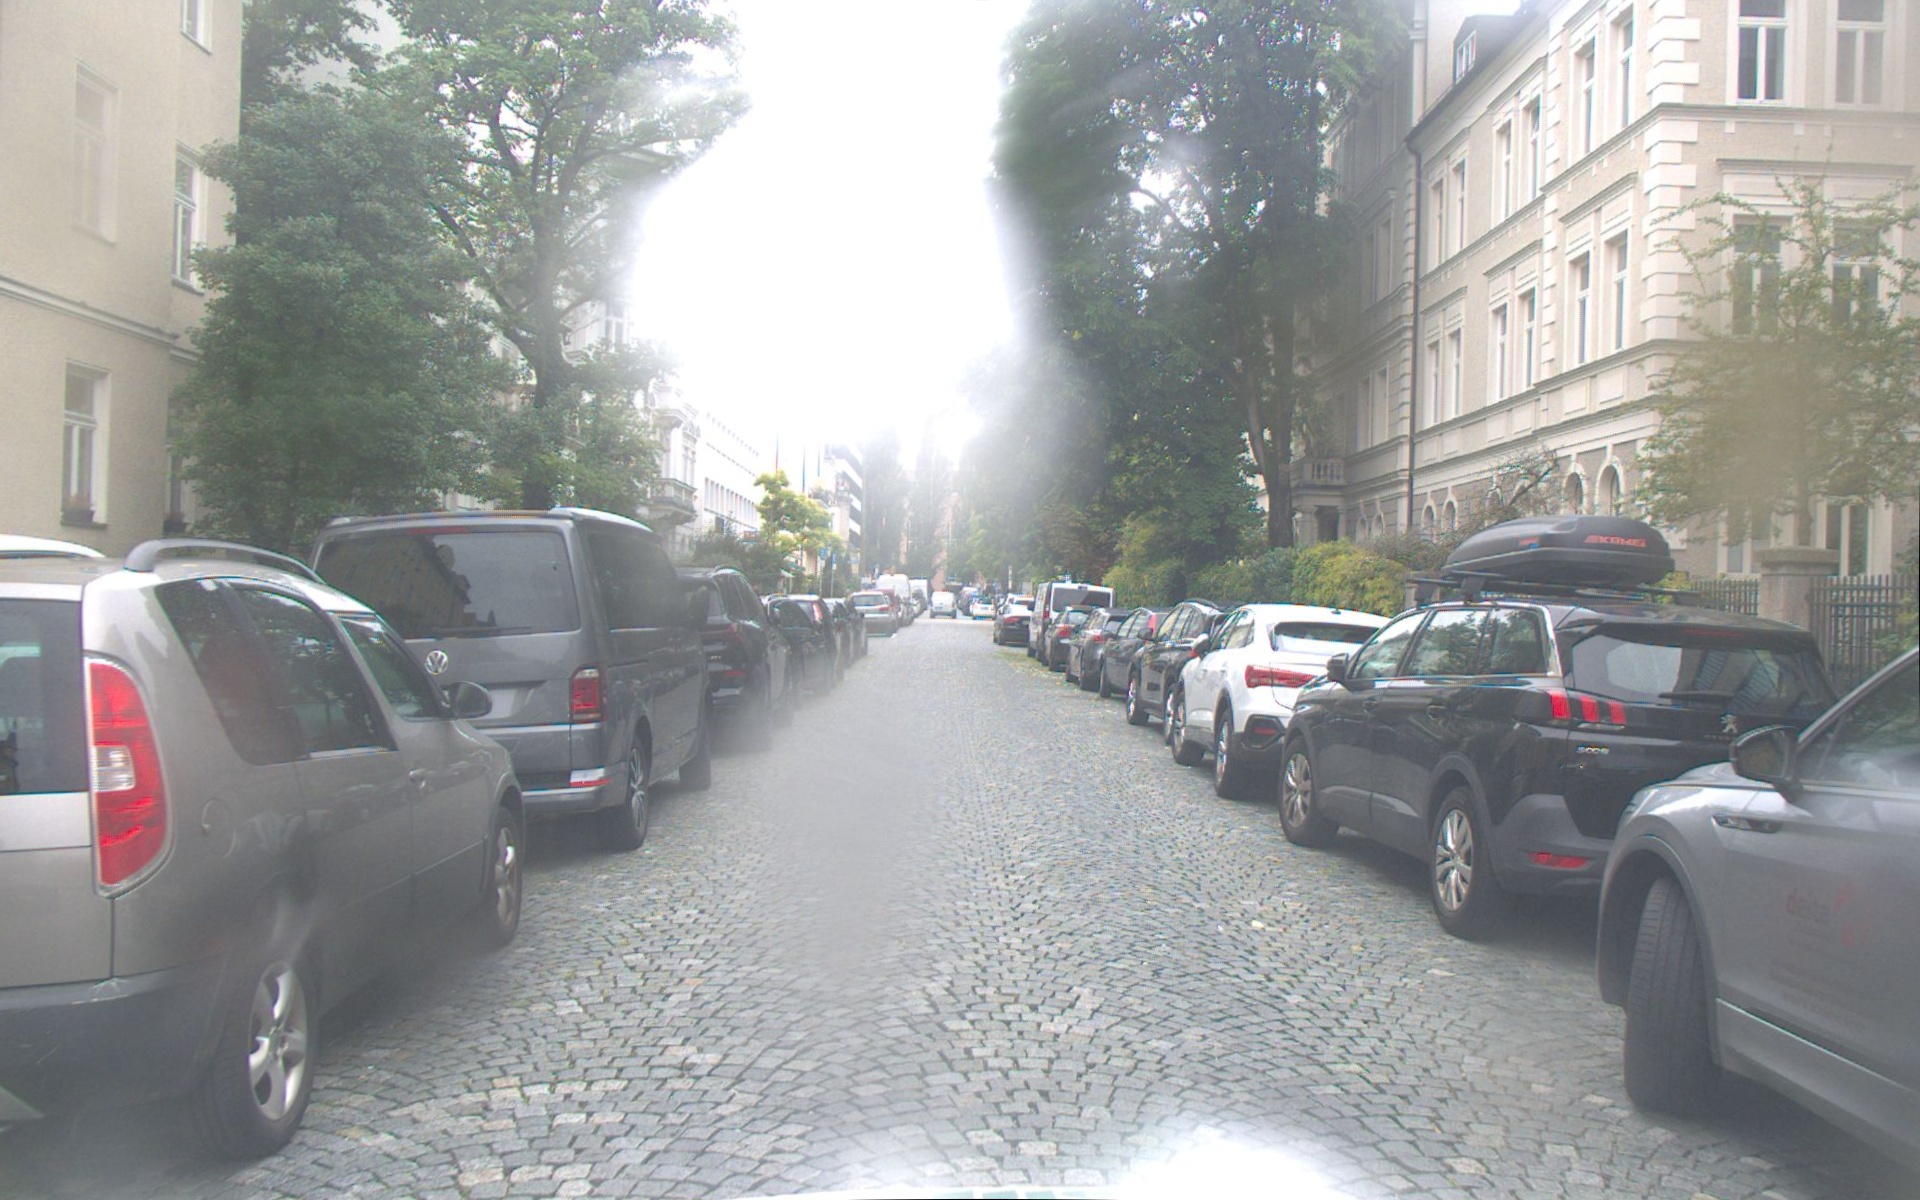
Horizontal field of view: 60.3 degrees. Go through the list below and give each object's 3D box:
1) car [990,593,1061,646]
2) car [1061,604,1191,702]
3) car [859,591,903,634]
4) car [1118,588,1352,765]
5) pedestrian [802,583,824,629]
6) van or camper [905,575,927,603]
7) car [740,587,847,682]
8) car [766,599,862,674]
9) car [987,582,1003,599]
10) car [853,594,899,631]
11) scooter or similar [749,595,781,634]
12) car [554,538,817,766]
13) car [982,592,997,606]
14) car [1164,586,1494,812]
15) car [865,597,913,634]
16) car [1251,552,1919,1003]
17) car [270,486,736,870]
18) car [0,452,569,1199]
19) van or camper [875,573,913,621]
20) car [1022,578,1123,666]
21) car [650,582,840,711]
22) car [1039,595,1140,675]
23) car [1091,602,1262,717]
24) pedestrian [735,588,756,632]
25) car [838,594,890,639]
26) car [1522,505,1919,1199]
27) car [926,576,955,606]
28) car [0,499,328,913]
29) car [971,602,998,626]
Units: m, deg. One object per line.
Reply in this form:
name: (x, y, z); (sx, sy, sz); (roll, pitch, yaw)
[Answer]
car: (2.102, 0.606, 54.310); (1.836, 1.529, 4.509); (4, 0, -3)
car: (2.875, 0.881, 29.510); (1.679, 1.498, 4.267); (4, 0, -2)
car: (-3.535, 0.557, 74.328); (1.835, 1.807, 4.121); (-2, 0, -2)
car: (3.085, 0.798, 19.514); (1.835, 1.698, 4.656); (4, 0, -1)
pedestrian: (-6.359, 0.262, 71.590); (0.776, 1.951, 0.758); (3, 0, -1)
van or camper: (-4.724, -1.176, 179.264); (2.210, 2.790, 5.097); (3, 0, -1)
car: (-2.742, 0.546, 27.883); (1.629, 1.469, 4.168); (1, 0, -4)
car: (-3.034, 0.717, 35.067); (1.747, 1.442, 4.495); (-1, 0, -2)
car: (4.613, -1.238, 218.845); (1.953, 2.049, 3.999); (2, -1, 0)
car: (-3.428, 0.516, 68.039); (1.835, 1.476, 4.205); (0, 0, -3)
scooter or similar: (-7.562, 0.557, 64.263); (0.922, 1.467, 2.656); (2, 0, -1)
car: (-2.646, 0.459, 17.214); (1.953, 1.950, 5.175); (-2, 0, -2)
car: (4.333, -0.149, 243.416); (1.953, 2.049, 3.999); (2, -1, 0)
car: (2.975, 0.709, 14.386); (1.835, 1.516, 4.617); (4, 0, 1)
car: (-3.399, 0.729, 79.768); (1.834, 1.607, 4.209); (4, 0, 3)
car: (3.166, 0.758, 9.404); (1.836, 1.764, 4.745); (5, 0, -3)
car: (-2.666, 0.398, 10.893); (1.835, 1.951, 4.826); (0, 0, -2)
car: (-2.731, 0.550, 5.911); (1.828, 1.765, 4.401); (-1, 0, -3)
van or camper: (-3.764, -0.170, 94.717); (1.953, 2.698, 4.000); (-1, 0, 0)
car: (2.787, 0.519, 42.089); (1.836, 1.961, 5.161); (4, 0, -3)
car: (-2.822, 0.570, 22.849); (1.938, 1.588, 5.017); (0, 0, 0)
car: (2.805, 0.733, 36.617); (1.800, 1.516, 4.421); (4, 0, 0)
car: (3.187, 0.841, 25.127); (1.661, 1.465, 4.057); (4, 0, -5)
pedestrian: (-8.387, 0.391, 64.763); (0.703, 1.717, 0.695); (2, 0, -1)
car: (-3.575, 0.604, 61.950); (1.836, 1.607, 4.253); (-1, 0, -3)
car: (3.027, 0.730, 3.702); (1.835, 1.765, 4.892); (4, 0, 1)
car: (-1.394, -0.604, 117.583); (1.953, 2.049, 4.000); (2, 0, 0)
car: (-5.031, 0.382, 8.295); (1.906, 1.765, 4.656); (5, 0, -2)
car: (1.705, 0.977, 115.914); (1.753, 1.547, 4.000); (2, 0, 0)
